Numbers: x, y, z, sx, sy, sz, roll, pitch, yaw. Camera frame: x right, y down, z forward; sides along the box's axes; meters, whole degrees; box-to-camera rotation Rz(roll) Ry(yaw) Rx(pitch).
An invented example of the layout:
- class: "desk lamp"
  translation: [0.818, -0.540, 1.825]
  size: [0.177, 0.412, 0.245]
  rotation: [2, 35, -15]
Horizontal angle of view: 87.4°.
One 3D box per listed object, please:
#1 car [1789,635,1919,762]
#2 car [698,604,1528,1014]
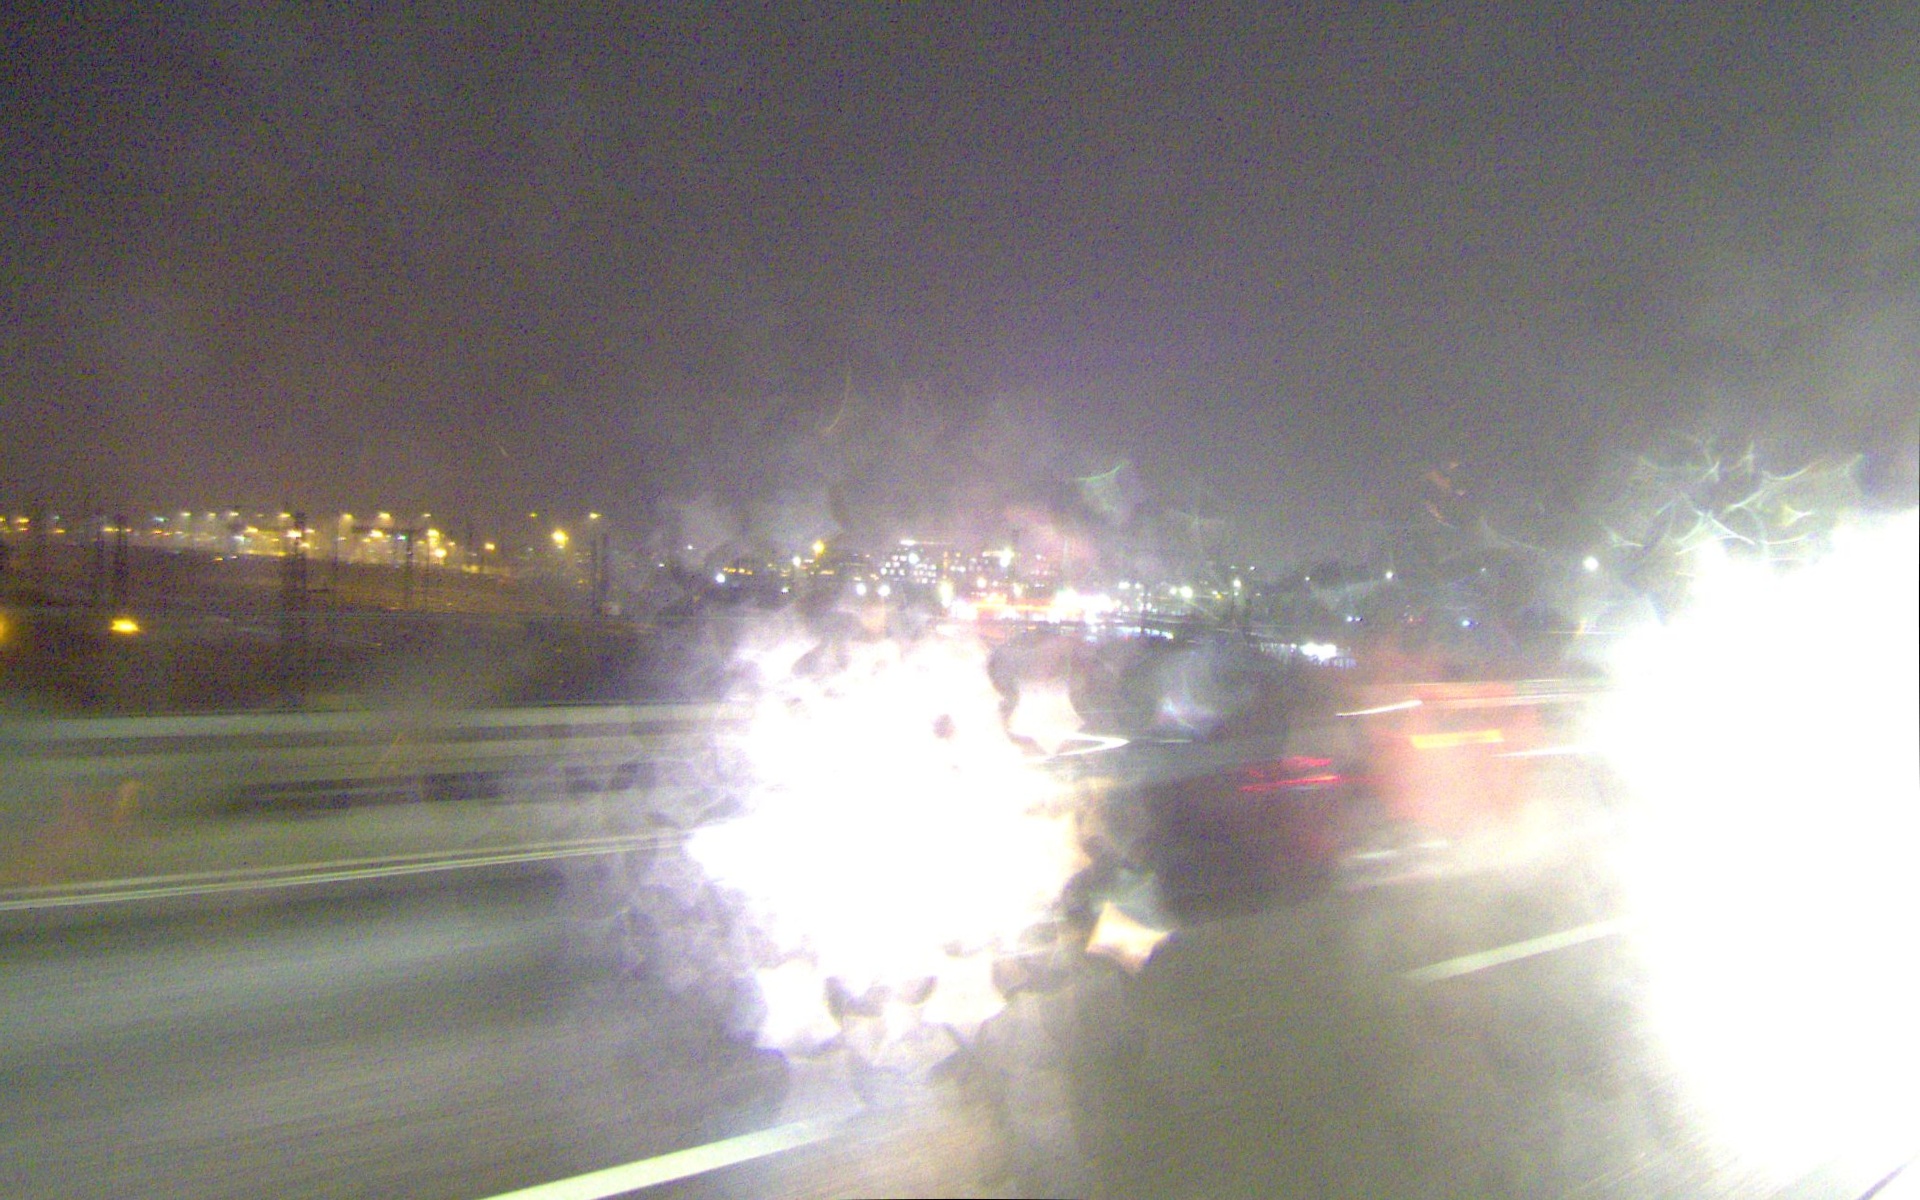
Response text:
- class: "car"
  translation: [12.608, 1.203, 13.118]
  size: [4.008, 1.423, 1.802]
  rotation: [1, -1, -36]
- class: "car"
  translation: [1.016, 0.839, 5.468]
  size: [4.402, 1.409, 1.673]
  rotation: [3, 0, -32]
